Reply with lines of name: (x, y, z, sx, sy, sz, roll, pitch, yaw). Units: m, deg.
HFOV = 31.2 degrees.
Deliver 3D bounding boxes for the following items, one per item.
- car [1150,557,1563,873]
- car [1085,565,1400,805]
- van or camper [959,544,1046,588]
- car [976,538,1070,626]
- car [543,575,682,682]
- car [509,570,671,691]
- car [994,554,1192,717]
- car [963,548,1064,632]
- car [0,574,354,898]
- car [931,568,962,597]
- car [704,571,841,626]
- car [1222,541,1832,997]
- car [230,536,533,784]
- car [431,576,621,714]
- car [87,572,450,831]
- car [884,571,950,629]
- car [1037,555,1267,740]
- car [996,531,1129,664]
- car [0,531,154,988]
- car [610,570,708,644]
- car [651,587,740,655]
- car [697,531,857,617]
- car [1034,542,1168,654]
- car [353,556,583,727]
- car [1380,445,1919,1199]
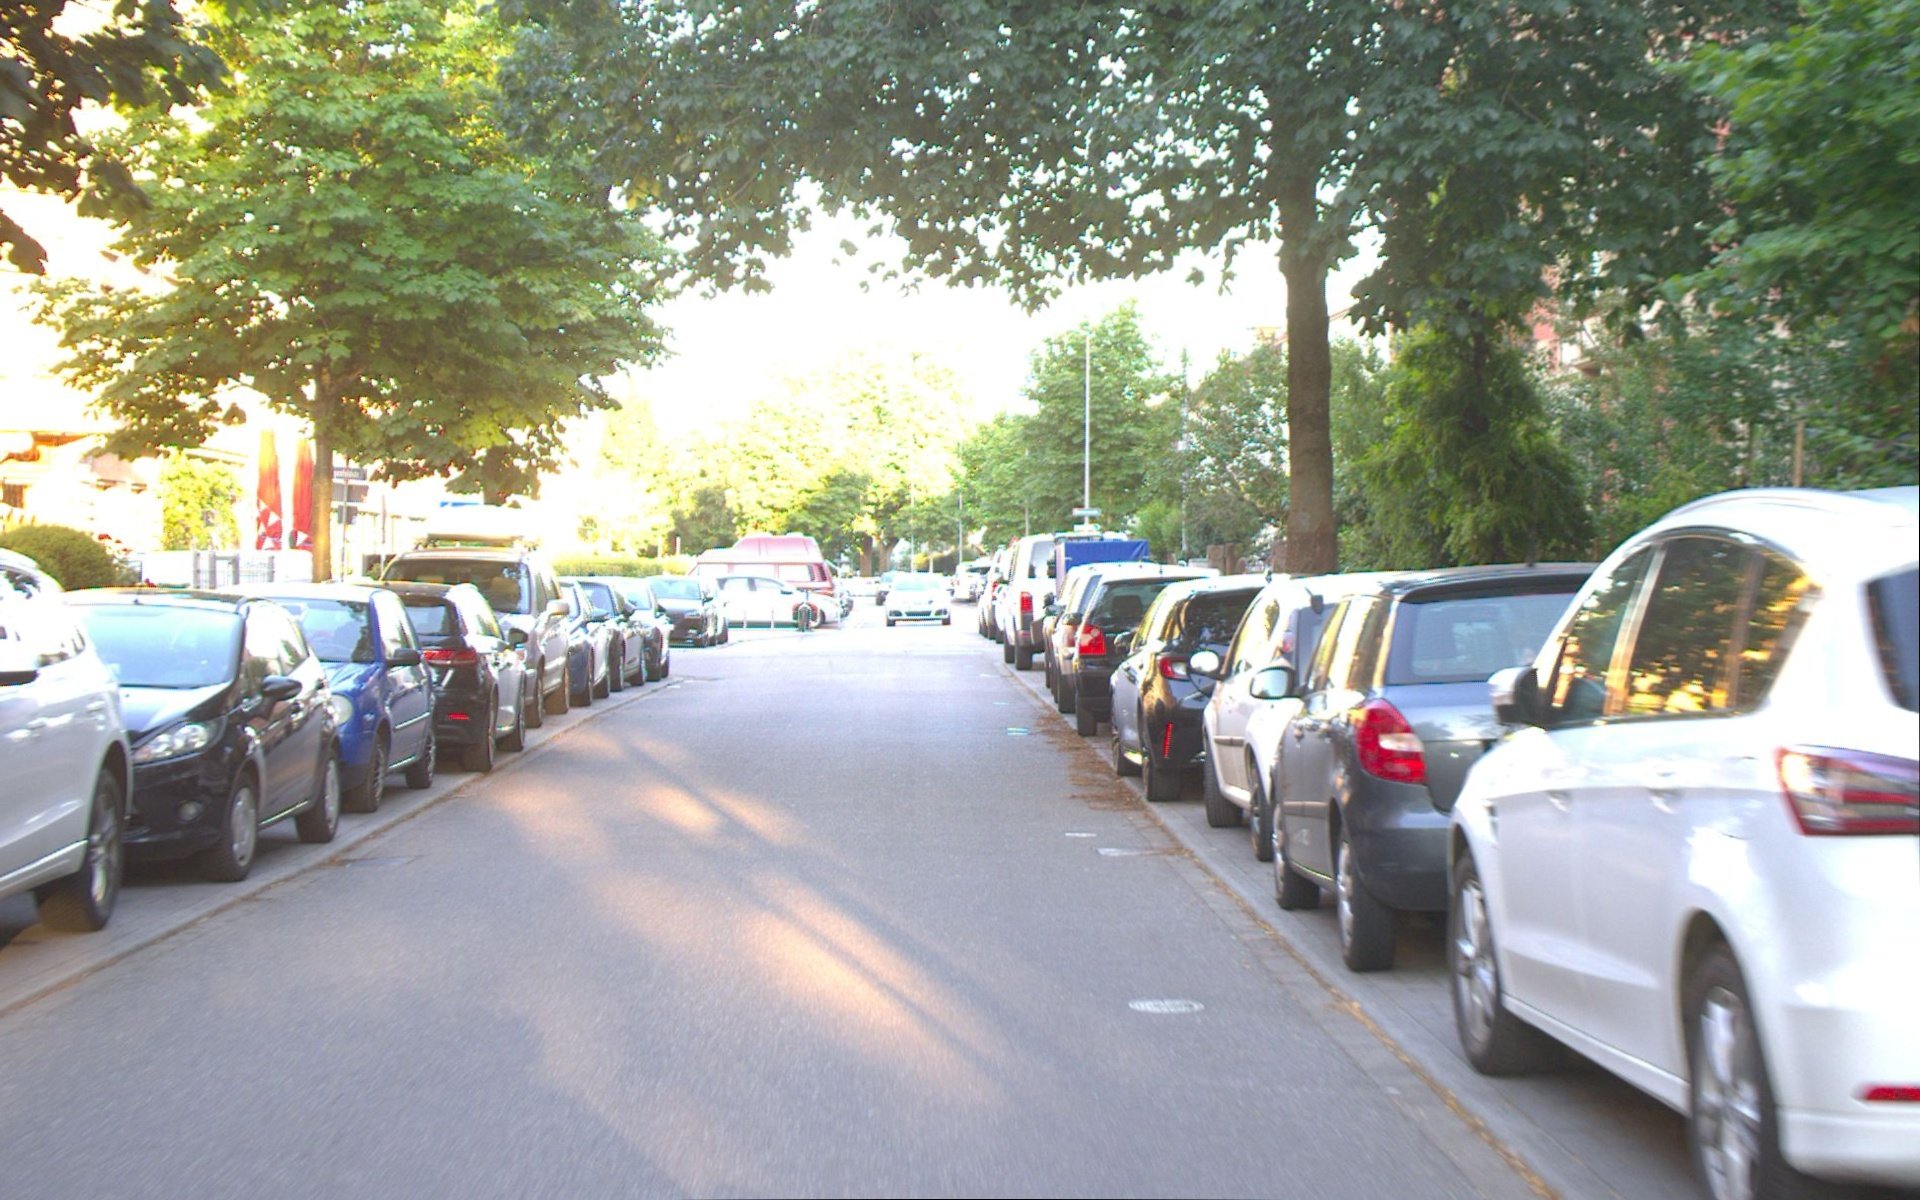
car: (2.120, 0.574, 19.333, 1.686, 1.600, 3.749, 0, 0, -3)
car: (1.845, 0.525, 23.651, 1.686, 1.436, 4.210, -2, 0, -1)
van or camper: (2.694, -2.159, 216.834, 5.262, 2.782, 1.552, 0, 1, -11)
car: (1.304, -0.371, 72.420, 1.686, 1.805, 3.940, 0, 0, -3)
car: (-4.951, 0.375, 49.299, 1.599, 1.436, 3.837, 0, 1, 0)
car: (-4.654, 0.356, 43.694, 1.715, 1.436, 3.631, 0, 1, -1)
car: (1.329, 0.343, 35.863, 1.686, 1.600, 3.940, 0, 0, -3)
car: (1.028, -0.200, 67.741, 1.686, 1.600, 3.940, 0, 0, -3)
car: (-4.428, 0.658, 18.505, 1.715, 1.561, 3.781, 0, 0, -1)
car: (-0.769, -0.996, 191.465, 1.715, 1.590, 3.483, 0, 1, -1)
car: (-5.017, -0.047, 91.754, 3.618, 1.456, 1.607, 0, 1, -4)
car: (2.161, 0.585, 14.225, 1.686, 1.600, 4.210, 0, 0, -2)
car: (-4.436, 0.398, 26.911, 1.715, 1.784, 4.216, 0, 1, -1)
car: (-4.910, 0.475, 39.306, 1.715, 1.460, 3.987, 0, 1, -1)
car: (-4.524, 0.610, 23.005, 1.715, 1.561, 3.788, 0, 1, -1)
car: (-1.200, -0.013, 96.453, 1.813, 1.590, 3.483, 0, 1, -1)
car: (1.709, 0.404, 31.740, 1.686, 1.600, 3.940, 0, 0, -3)
car: (1.510, -0.040, 51.974, 1.680, 1.934, 3.881, 0, 0, -3)
car: (-4.558, 0.592, 13.251, 1.921, 1.711, 4.428, 0, 1, -1)
car: (-6.233, 0.152, 71.486, 1.716, 1.481, 3.630, 0, 0, 0)
car: (-5.904, 0.458, 77.115, 1.716, 1.436, 3.631, 0, 1, 0)
car: (-5.013, -0.721, 94.342, 4.349, 2.310, 1.746, 0, 1, -2)
car: (1.947, -0.033, 48.251, 1.538, 1.516, 3.432, 0, 0, -3)
car: (-4.839, 0.361, 34.333, 1.715, 1.590, 4.519, 0, 1, -1)
car: (2.345, 0.558, 8.409, 1.798, 1.705, 4.601, -1, 0, -3)
